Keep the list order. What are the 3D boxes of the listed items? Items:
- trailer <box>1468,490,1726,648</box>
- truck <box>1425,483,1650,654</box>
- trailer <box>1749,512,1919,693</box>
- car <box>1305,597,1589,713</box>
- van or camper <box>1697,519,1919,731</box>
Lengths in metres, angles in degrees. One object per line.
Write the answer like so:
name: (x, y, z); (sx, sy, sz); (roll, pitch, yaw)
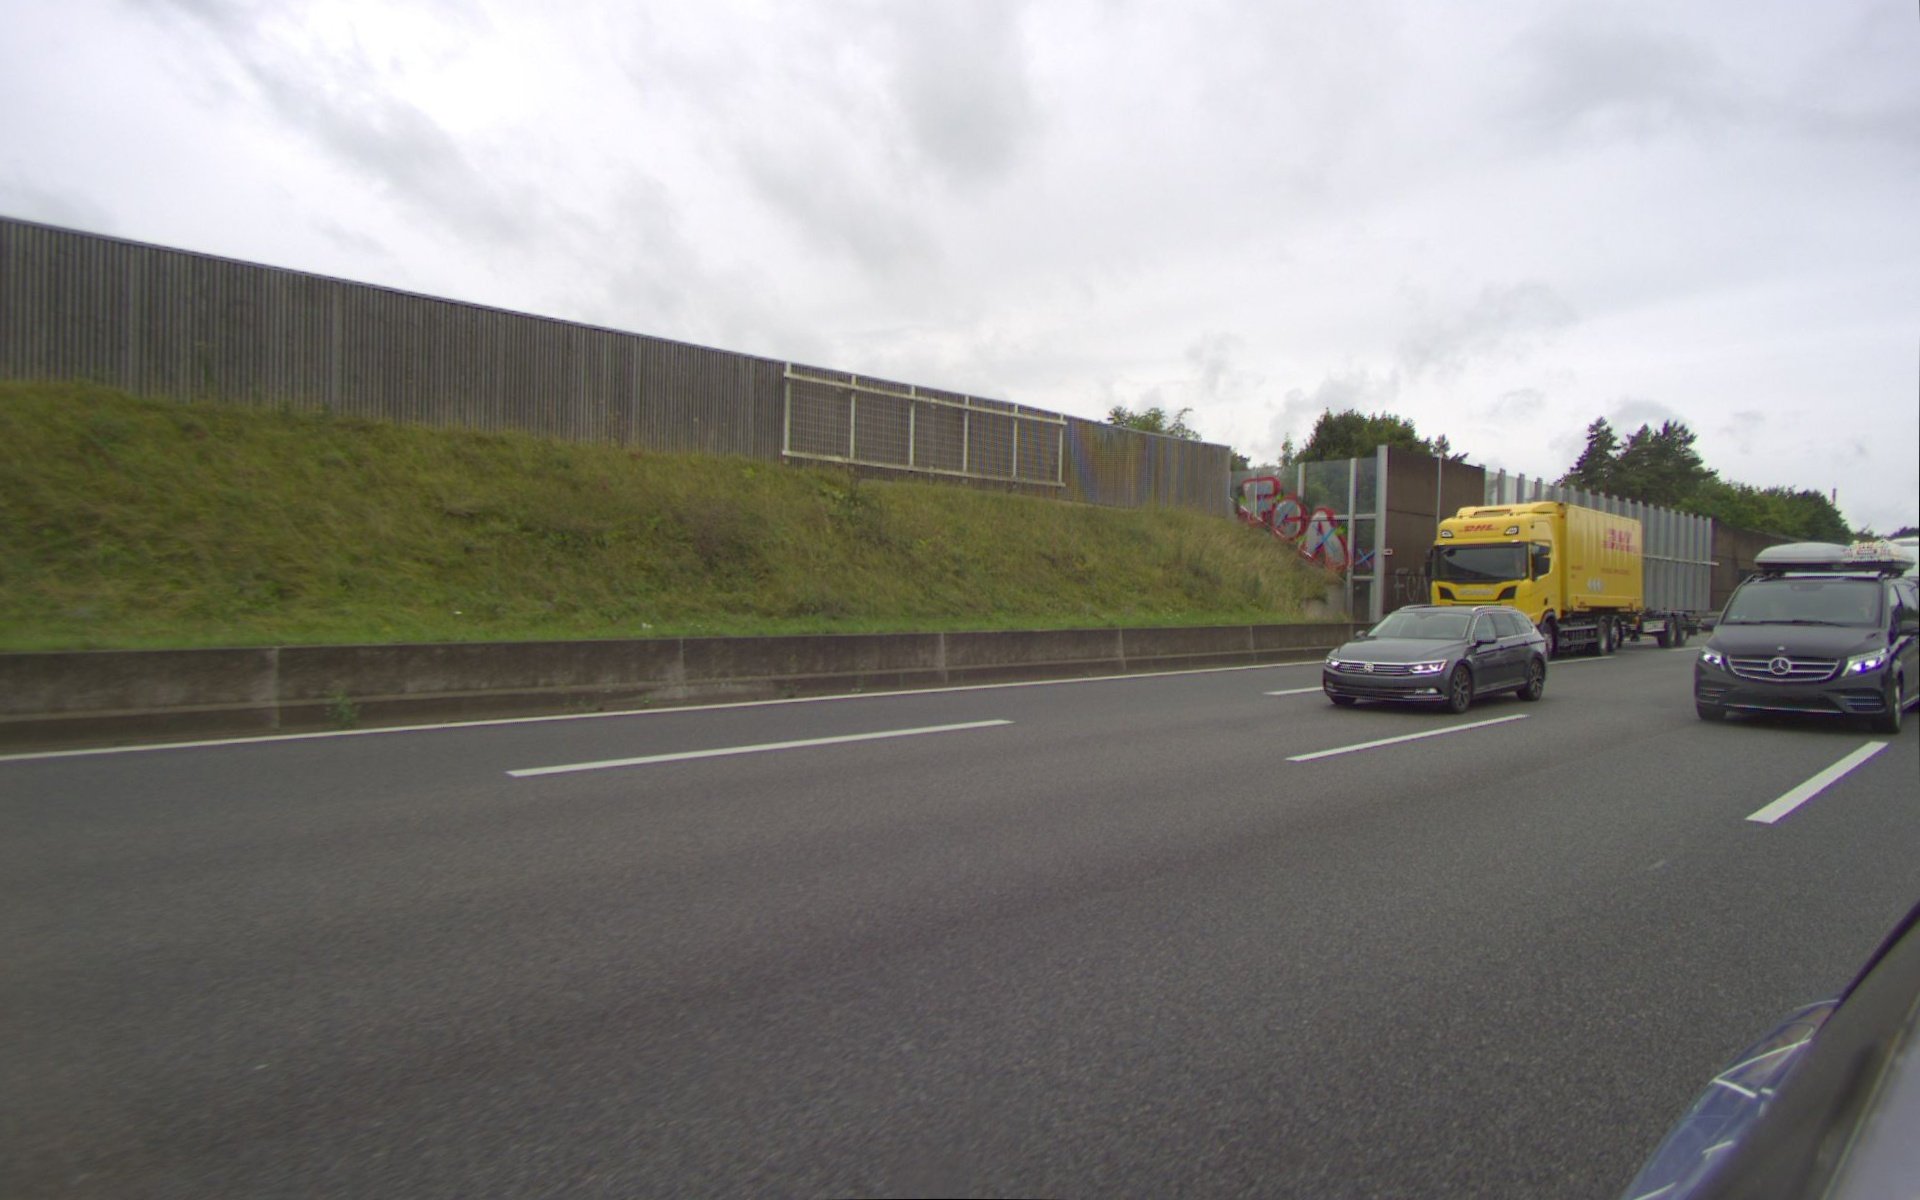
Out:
trailer: (20.783, -0.809, 32.101); (16.402, 4.003, 2.654); (0, 0, -43)
truck: (16.095, -0.758, 27.820); (9.168, 4.008, 2.689); (0, 0, -43)
trailer: (16.596, 0.034, 17.907); (7.379, 2.675, 2.726); (0, 1, -41)
car: (7.381, 0.706, 15.062); (5.197, 1.445, 1.943); (0, -1, -41)
van or camper: (11.731, 0.275, 13.529); (5.580, 2.298, 1.893); (0, 0, -42)
